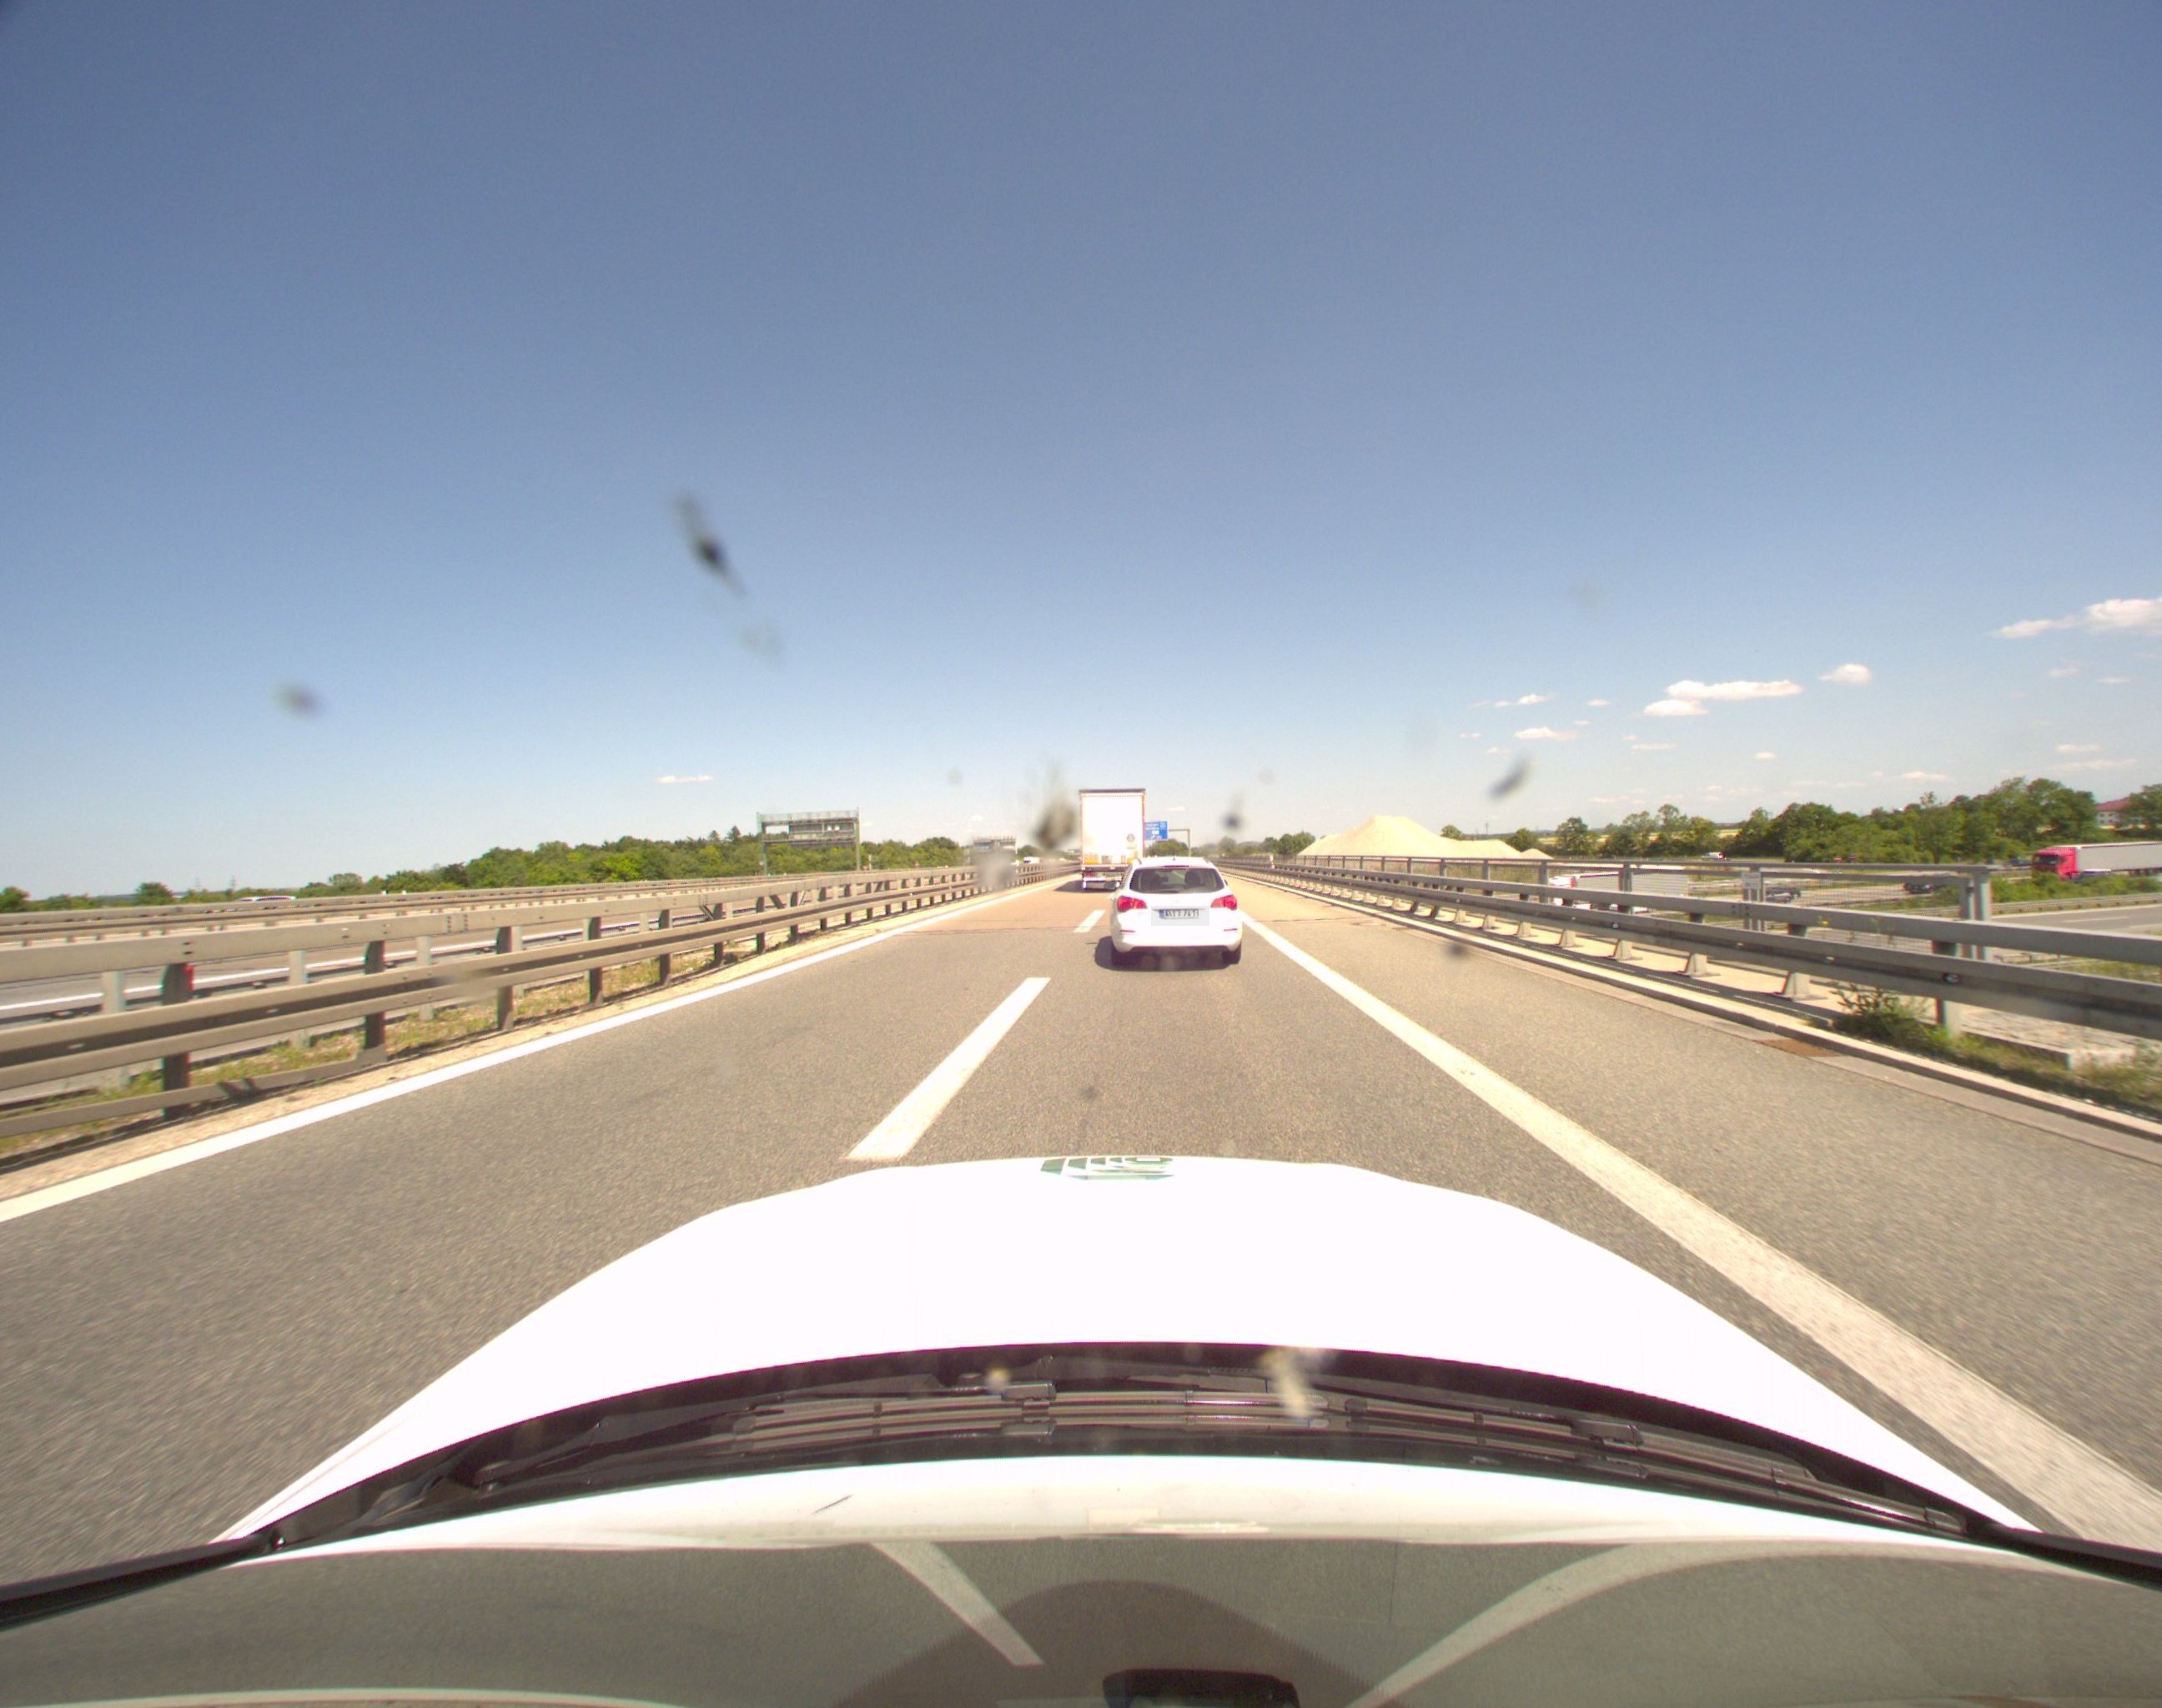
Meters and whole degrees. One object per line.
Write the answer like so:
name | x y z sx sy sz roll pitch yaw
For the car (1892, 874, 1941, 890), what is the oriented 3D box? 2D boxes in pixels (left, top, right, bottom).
car | 97.983 3.277 95.526 4.329 1.734 1.856 -1 -1 -8

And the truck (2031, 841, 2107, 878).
truck | 117.488 0.667 96.910 5.931 4.064 2.863 -3 0 -6

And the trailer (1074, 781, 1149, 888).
trailer | 1.419 -0.646 37.500 2.901 4.145 11.262 -1 -1 2

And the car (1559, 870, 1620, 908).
car | 54.901 3.733 88.024 5.135 3.964 2.478 0 -1 -5

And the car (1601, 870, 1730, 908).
car | 63.734 3.748 88.888 12.949 3.964 2.478 0 -1 -6

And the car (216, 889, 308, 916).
car | -45.472 2.677 45.318 1.571 1.354 3.346 -2 -3 4

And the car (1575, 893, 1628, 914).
car | 54.386 5.158 85.064 4.388 2.014 1.996 0 -1 -5

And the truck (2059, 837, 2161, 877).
truck | 124.707 0.345 97.744 12.522 4.064 2.863 -3 0 -7

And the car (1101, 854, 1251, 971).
car | 1.369 0.754 12.395 1.845 1.443 4.377 -1 -1 5

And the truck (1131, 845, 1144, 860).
truck | 16.398 -0.337 233.984 3.522 4.145 11.271 1 -1 5
